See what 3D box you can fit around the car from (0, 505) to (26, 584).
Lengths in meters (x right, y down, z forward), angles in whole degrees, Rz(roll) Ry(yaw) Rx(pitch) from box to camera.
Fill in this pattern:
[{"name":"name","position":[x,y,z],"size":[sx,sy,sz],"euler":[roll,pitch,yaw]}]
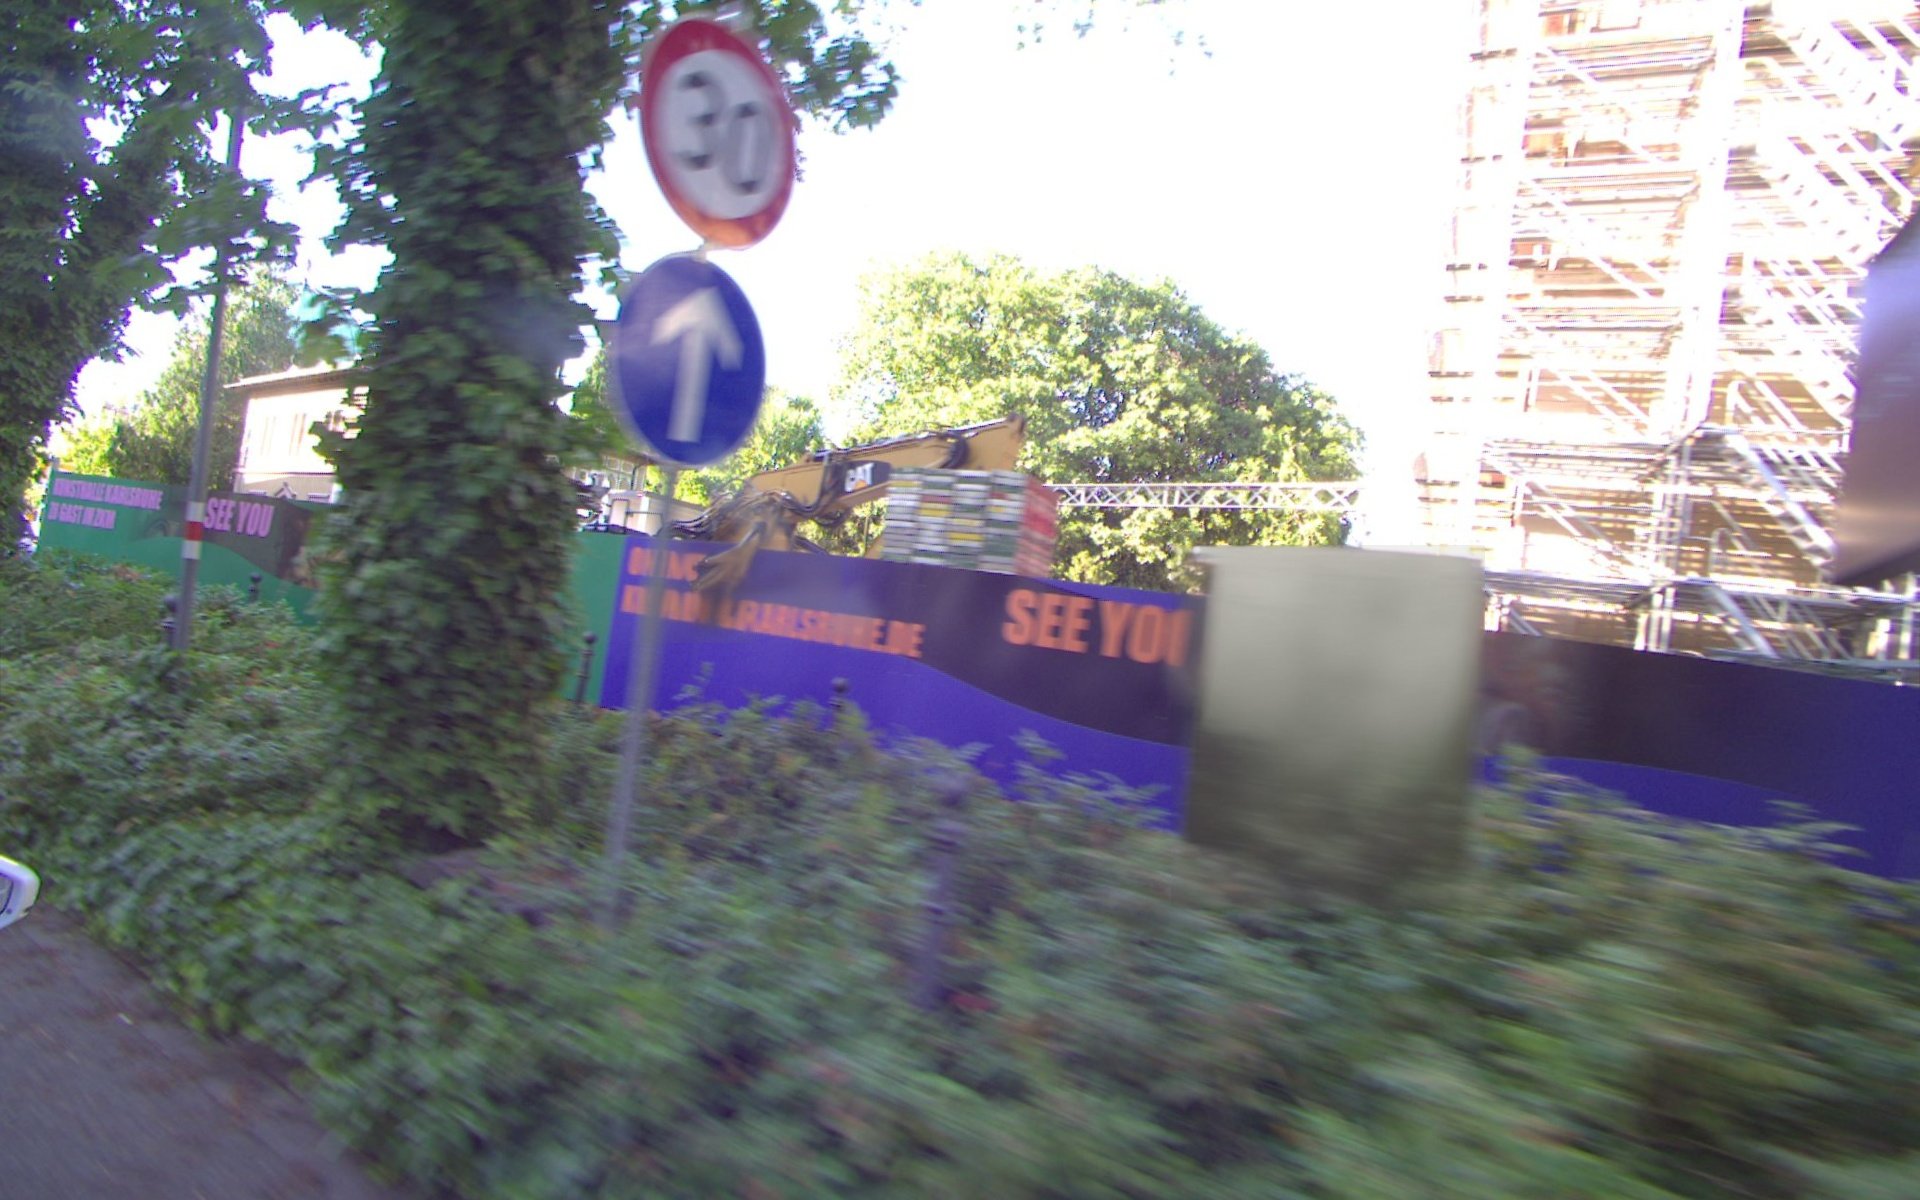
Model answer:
[{"name":"car","position":[-19.017,-1.162,18.692],"size":[1.842,1.497,4.017],"euler":[9,-2,-37]}]

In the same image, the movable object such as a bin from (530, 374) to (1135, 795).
[{"name":"movable object such as a bin","position":[-2.033,-0.345,14.388],"size":[7.777,4.590,3.314],"euler":[7,-2,33]}]
